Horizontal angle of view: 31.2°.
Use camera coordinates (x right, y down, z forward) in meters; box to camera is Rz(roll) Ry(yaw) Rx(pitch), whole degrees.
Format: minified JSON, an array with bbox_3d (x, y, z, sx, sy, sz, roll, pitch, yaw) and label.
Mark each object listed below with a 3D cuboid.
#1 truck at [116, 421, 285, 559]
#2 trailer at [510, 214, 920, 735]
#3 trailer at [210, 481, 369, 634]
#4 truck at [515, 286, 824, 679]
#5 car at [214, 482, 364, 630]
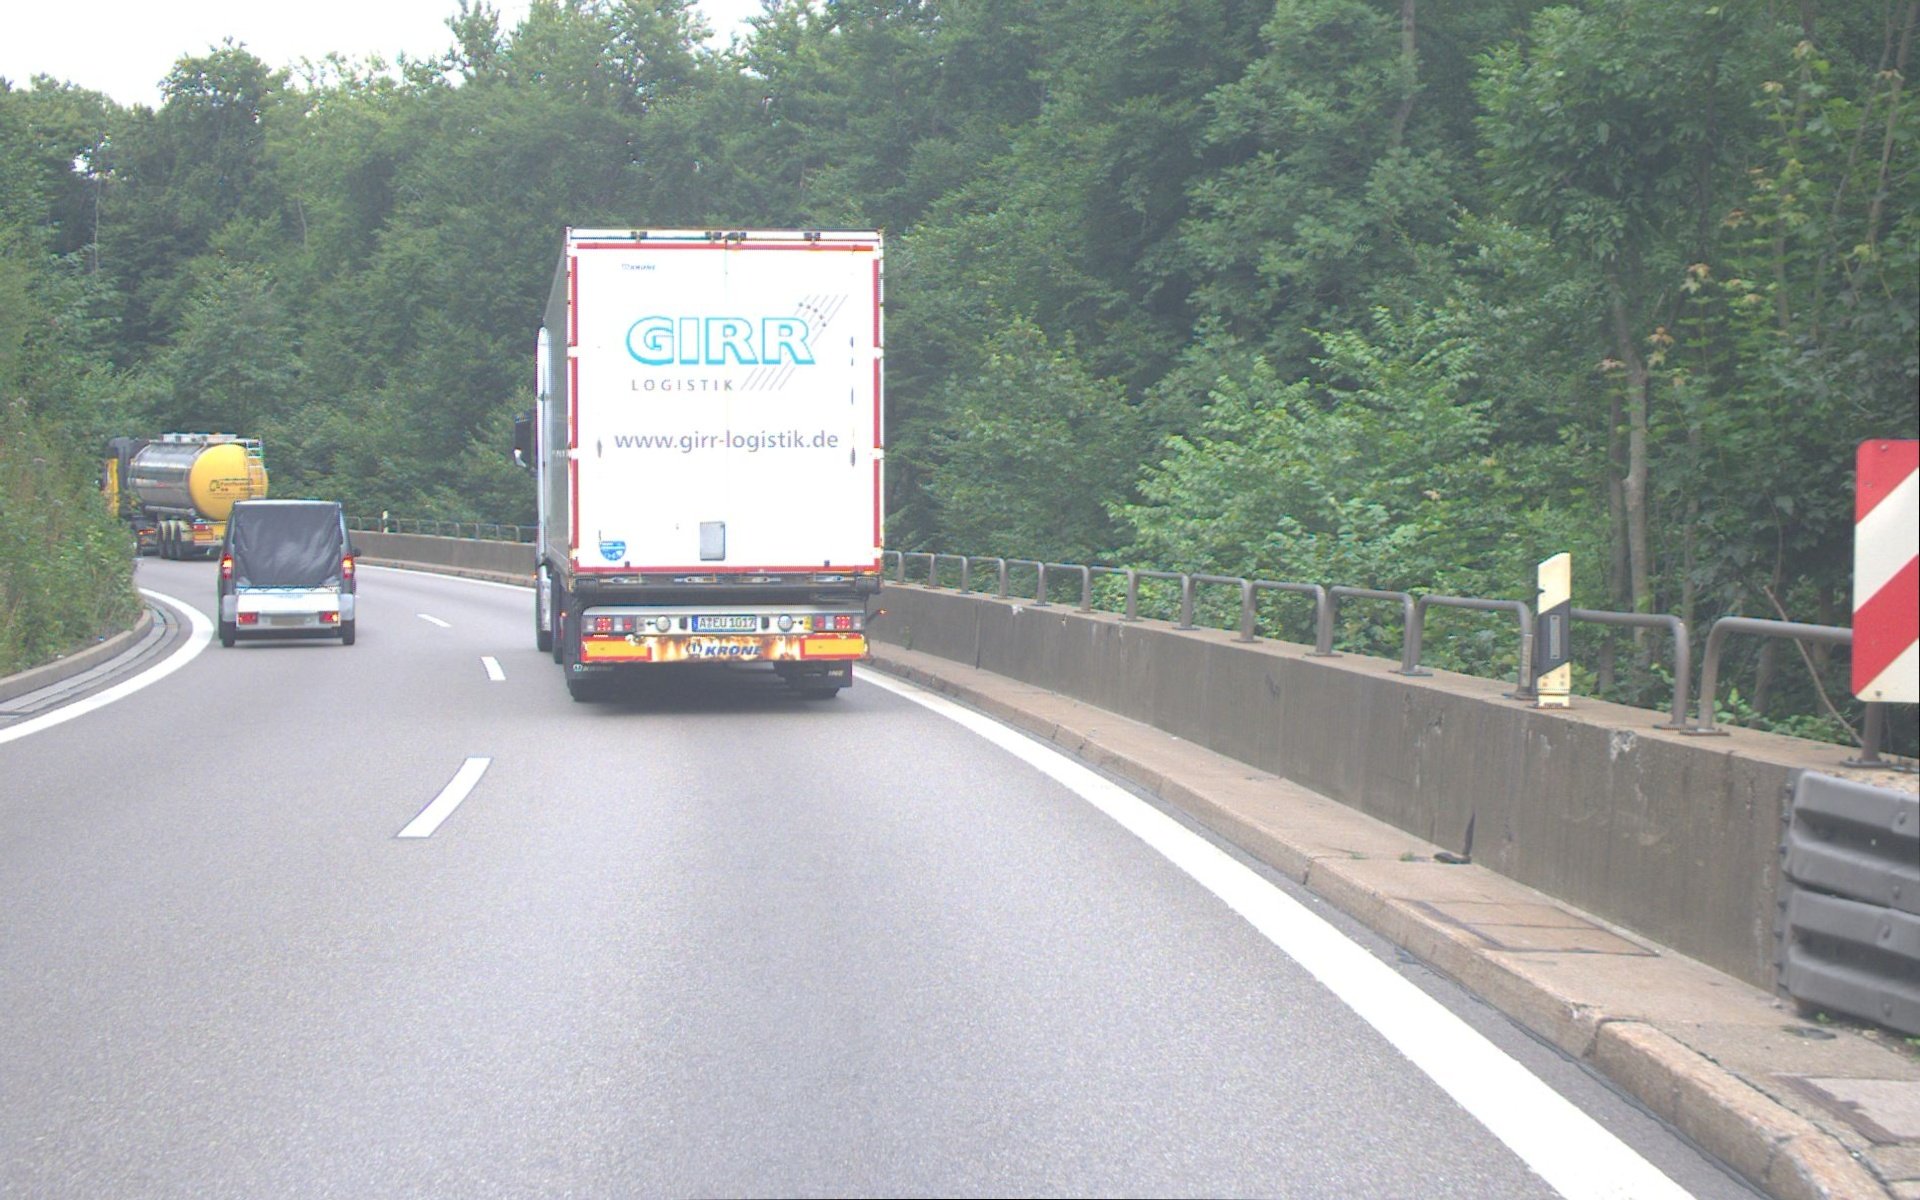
[{"bbox_3d":[-23.512,-3.304,105.765,3.057,3.972,13.702,-1,1,-21],"label":"truck"},{"bbox_3d":[-2.668,-1.259,33.207,3.057,3.972,12.140,3,2,-7],"label":"trailer"},{"bbox_3d":[-8.844,-0.555,45.404,1.970,1.933,3.431,0,0,-11],"label":"trailer"},{"bbox_3d":[-3.480,-1.388,39.630,3.057,3.972,7.189,3,2,-7],"label":"truck"},{"bbox_3d":[-9.695,-0.621,49.813,1.993,2.007,5.542,0,0,-11],"label":"car"}]
